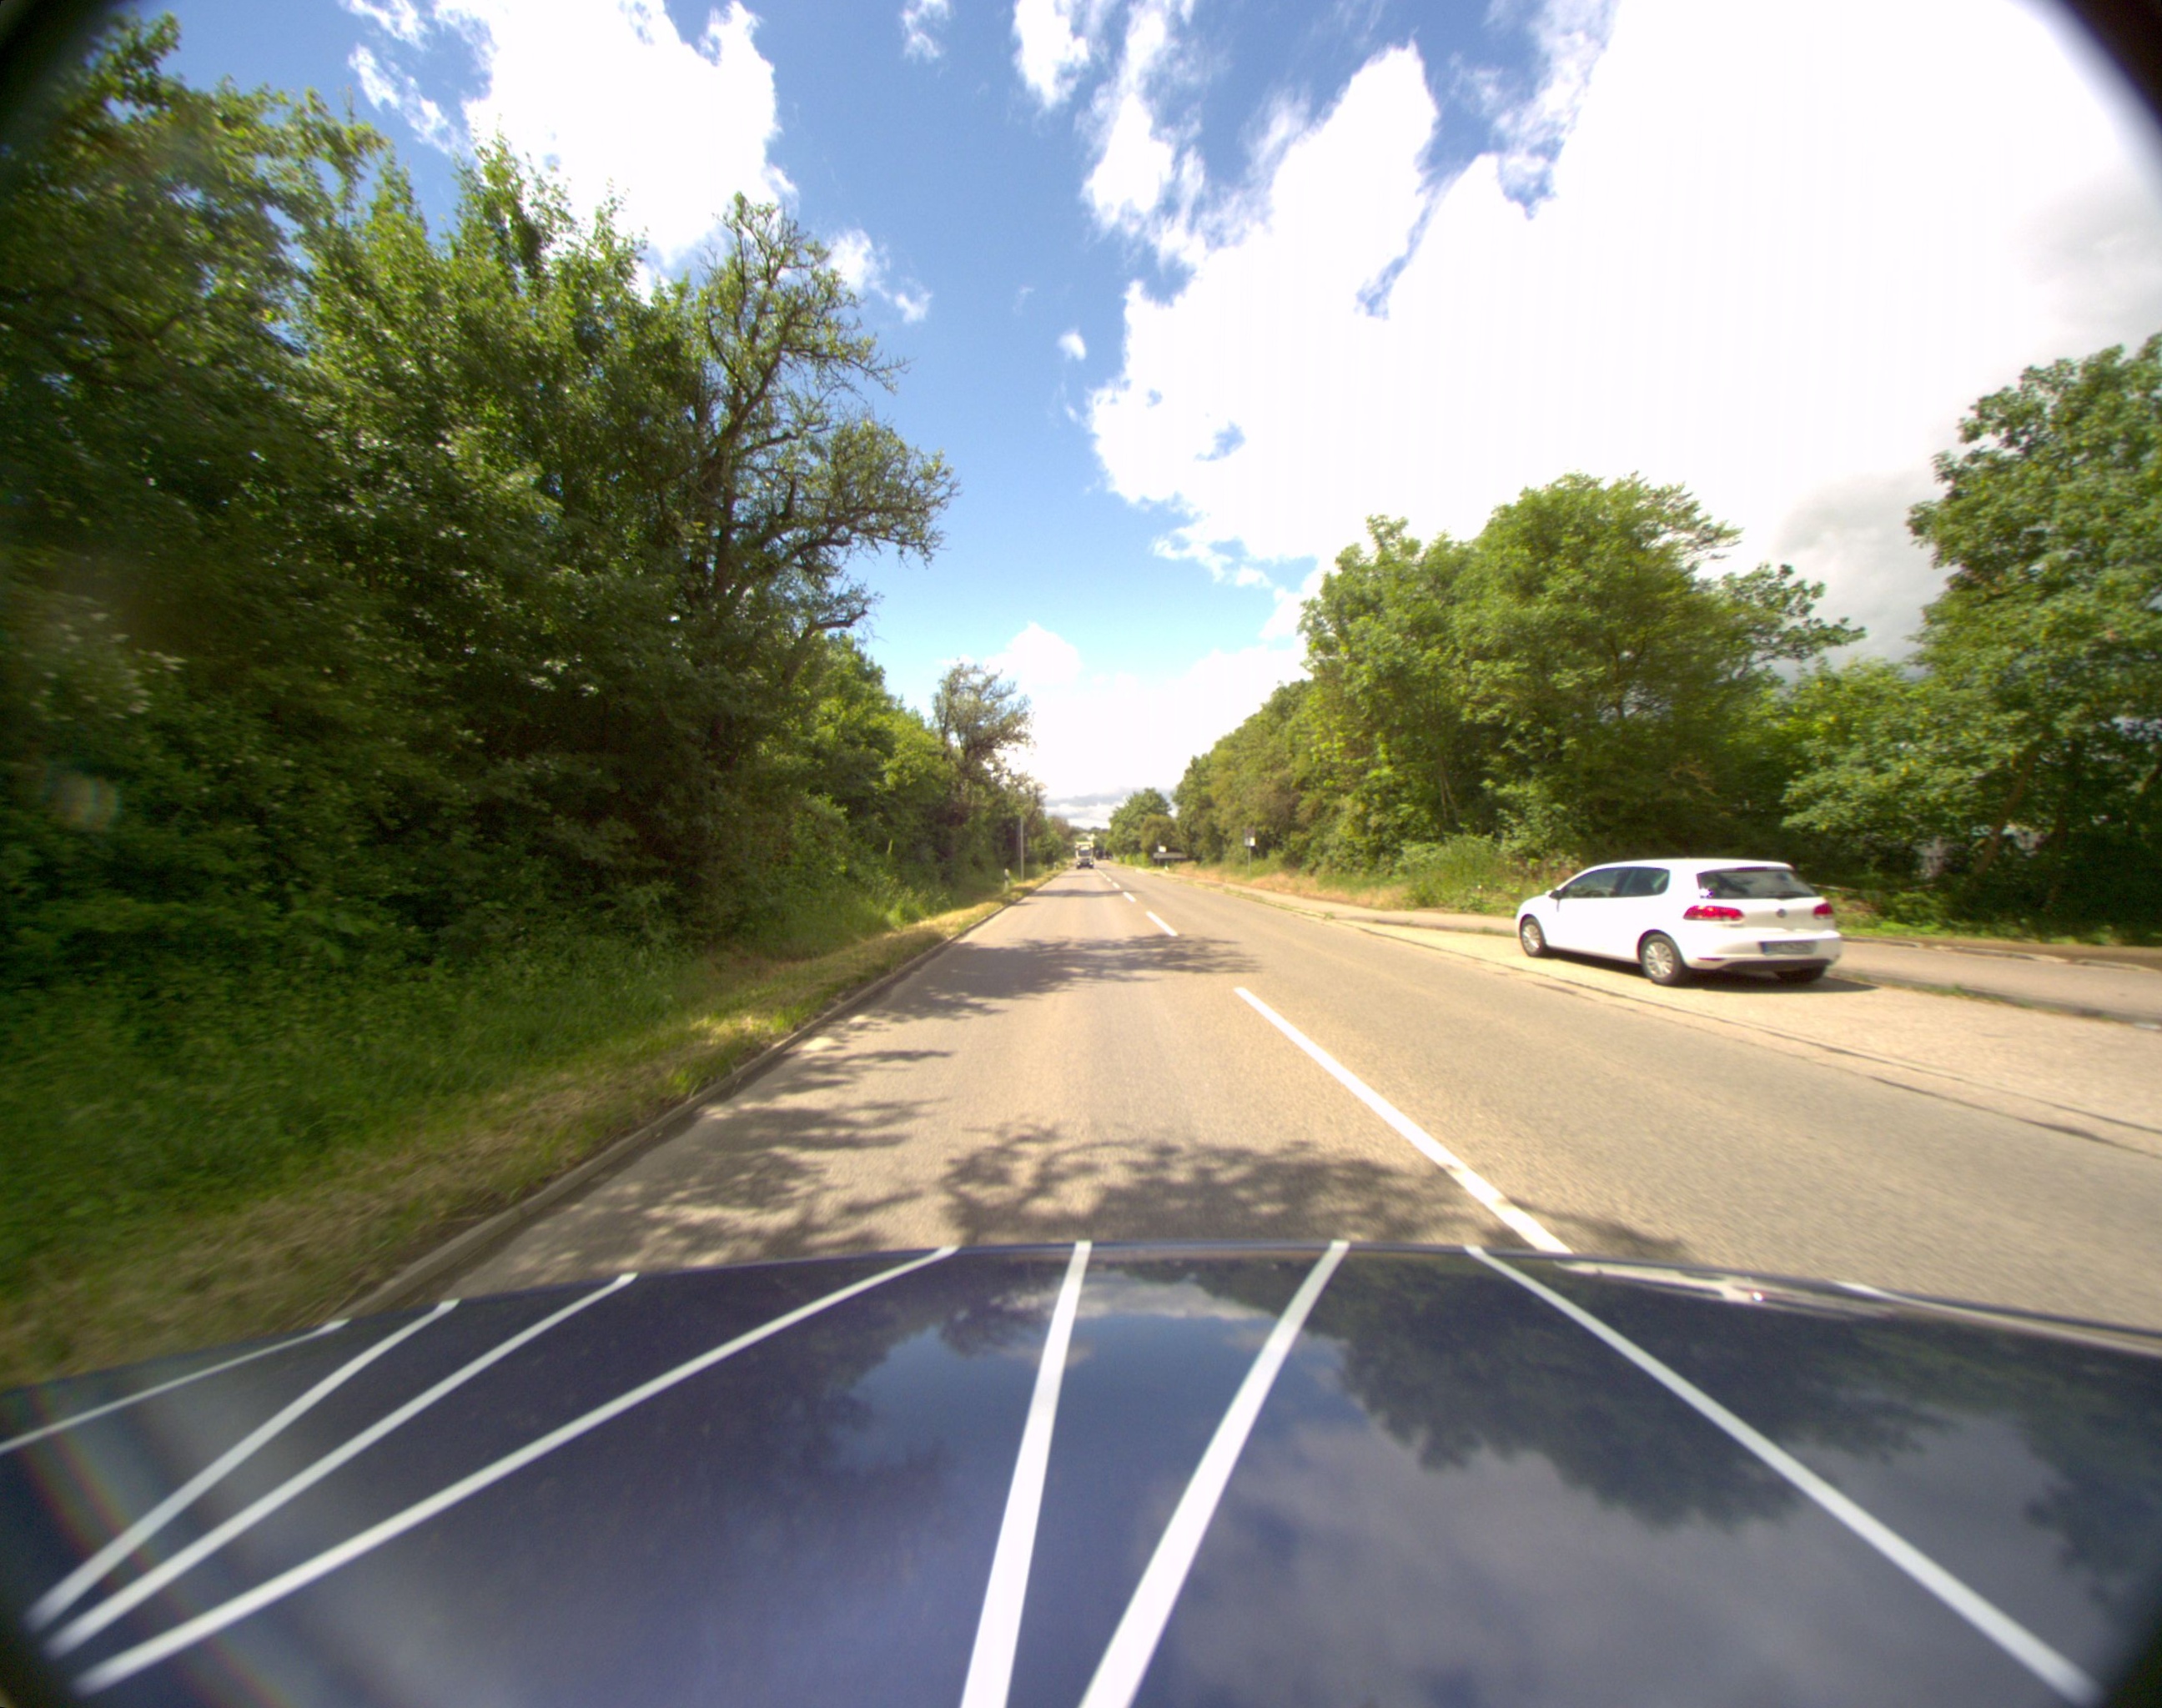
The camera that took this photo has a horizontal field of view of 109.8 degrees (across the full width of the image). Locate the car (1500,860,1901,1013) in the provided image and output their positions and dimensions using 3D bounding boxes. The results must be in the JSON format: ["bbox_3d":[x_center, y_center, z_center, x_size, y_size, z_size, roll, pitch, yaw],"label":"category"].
[{"bbox_3d":[7.633,0.875,10.045,1.772,1.461,4.245,-2,0,-1],"label":"car"}]

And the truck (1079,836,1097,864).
[{"bbox_3d":[1.032,-0.623,109.852,2.306,3.790,8.182,-2,1,0],"label":"truck"}]
